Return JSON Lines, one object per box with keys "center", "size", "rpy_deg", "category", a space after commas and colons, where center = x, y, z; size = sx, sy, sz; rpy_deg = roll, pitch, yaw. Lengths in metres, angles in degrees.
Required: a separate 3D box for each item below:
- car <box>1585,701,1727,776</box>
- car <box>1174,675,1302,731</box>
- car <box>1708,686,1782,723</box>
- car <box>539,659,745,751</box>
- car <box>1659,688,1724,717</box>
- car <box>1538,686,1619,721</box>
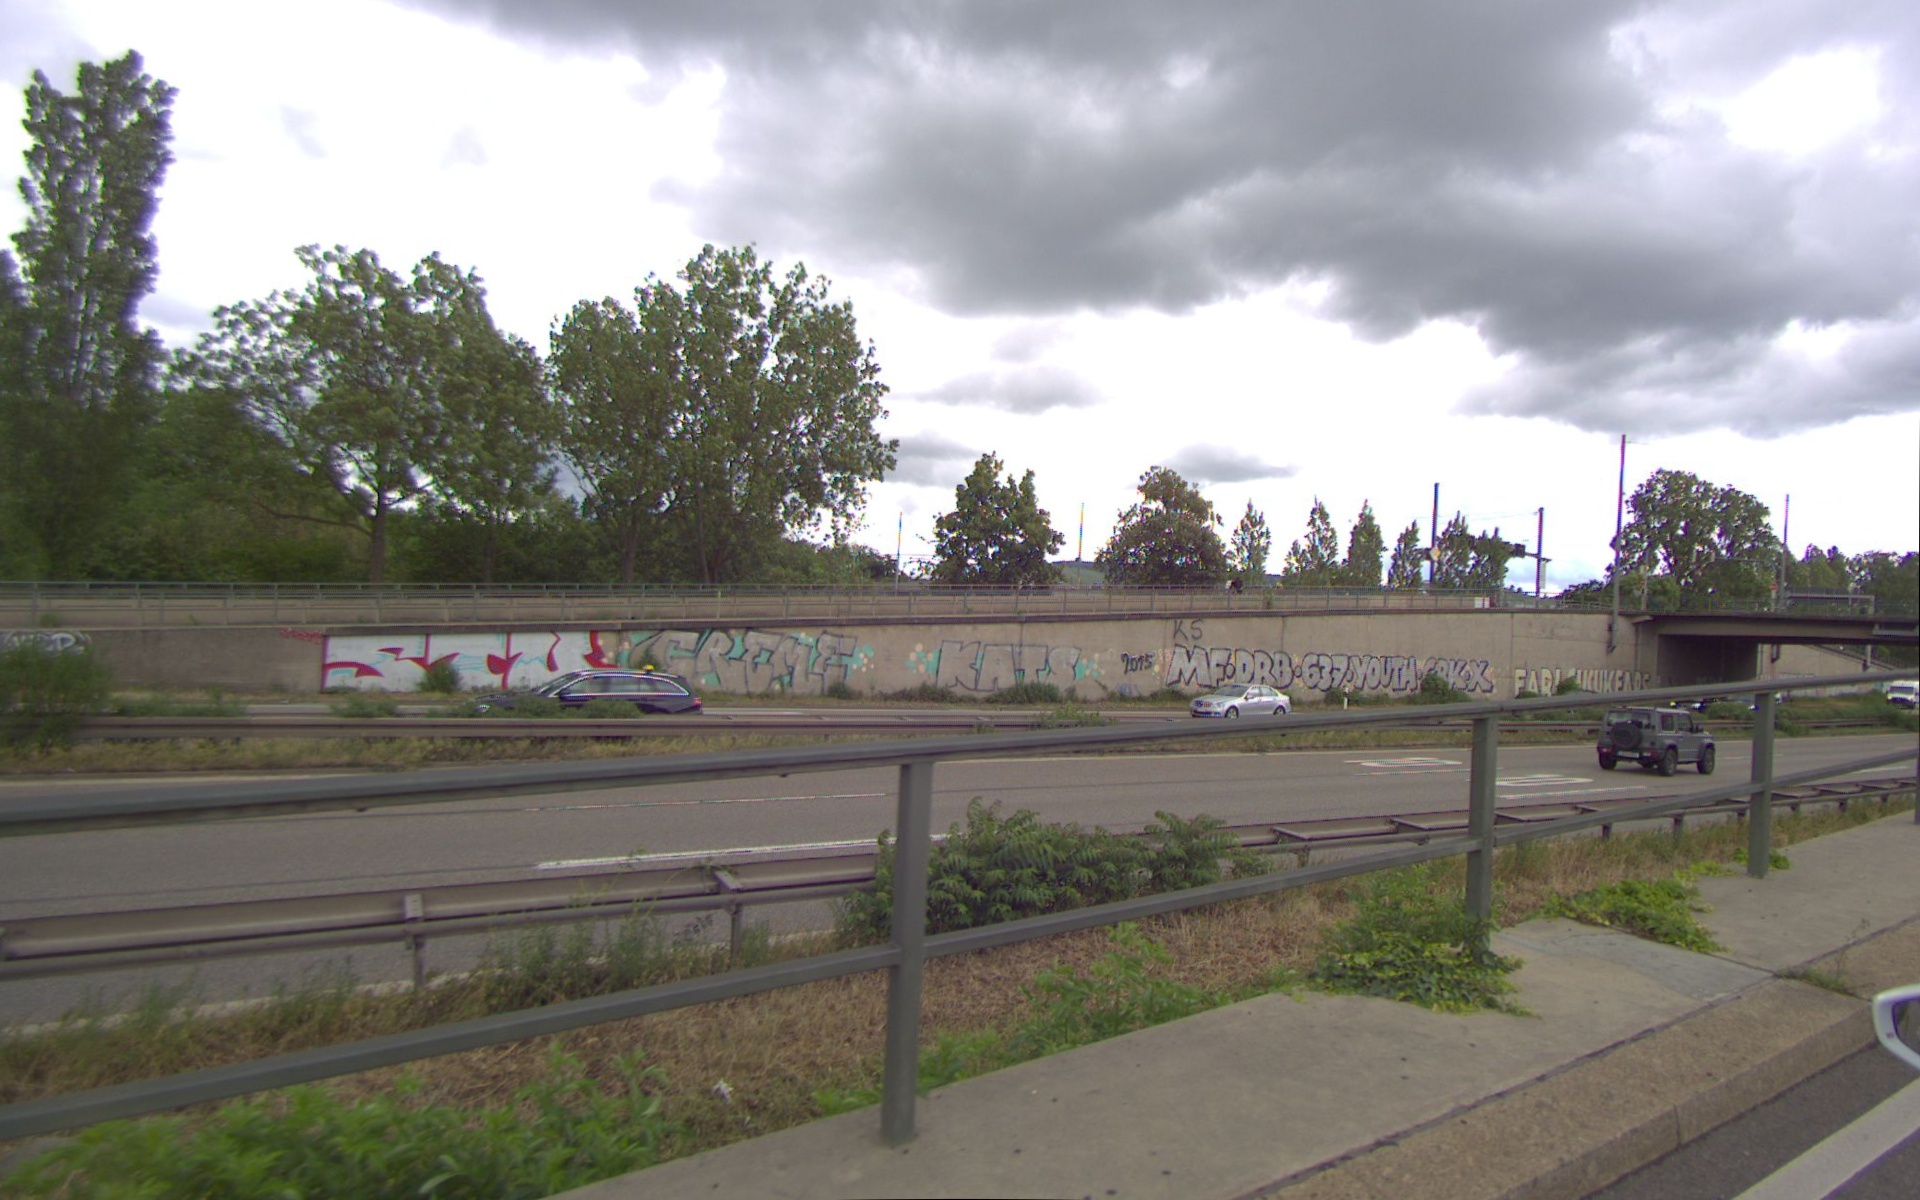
{"center": [18.643, 3.641, 26.880], "size": [3.954, 1.758, 1.672], "rpy_deg": [4, -2, -32], "category": "car"}
{"center": [10.535, 3.909, 38.001], "size": [4.654, 1.713, 1.983], "rpy_deg": [7, -4, -31], "category": "car"}
{"center": [47.789, 6.362, 61.107], "size": [5.063, 2.014, 2.080], "rpy_deg": [5, -3, -34], "category": "car"}
{"center": [-6.956, 2.244, 22.004], "size": [3.952, 1.751, 1.985], "rpy_deg": [3, -2, -29], "category": "car"}
{"center": [47.871, 6.714, 65.739], "size": [4.656, 1.714, 1.981], "rpy_deg": [4, -3, -34], "category": "car"}
{"center": [34.069, 5.699, 55.278], "size": [4.654, 1.742, 1.982], "rpy_deg": [5, -3, -33], "category": "car"}
